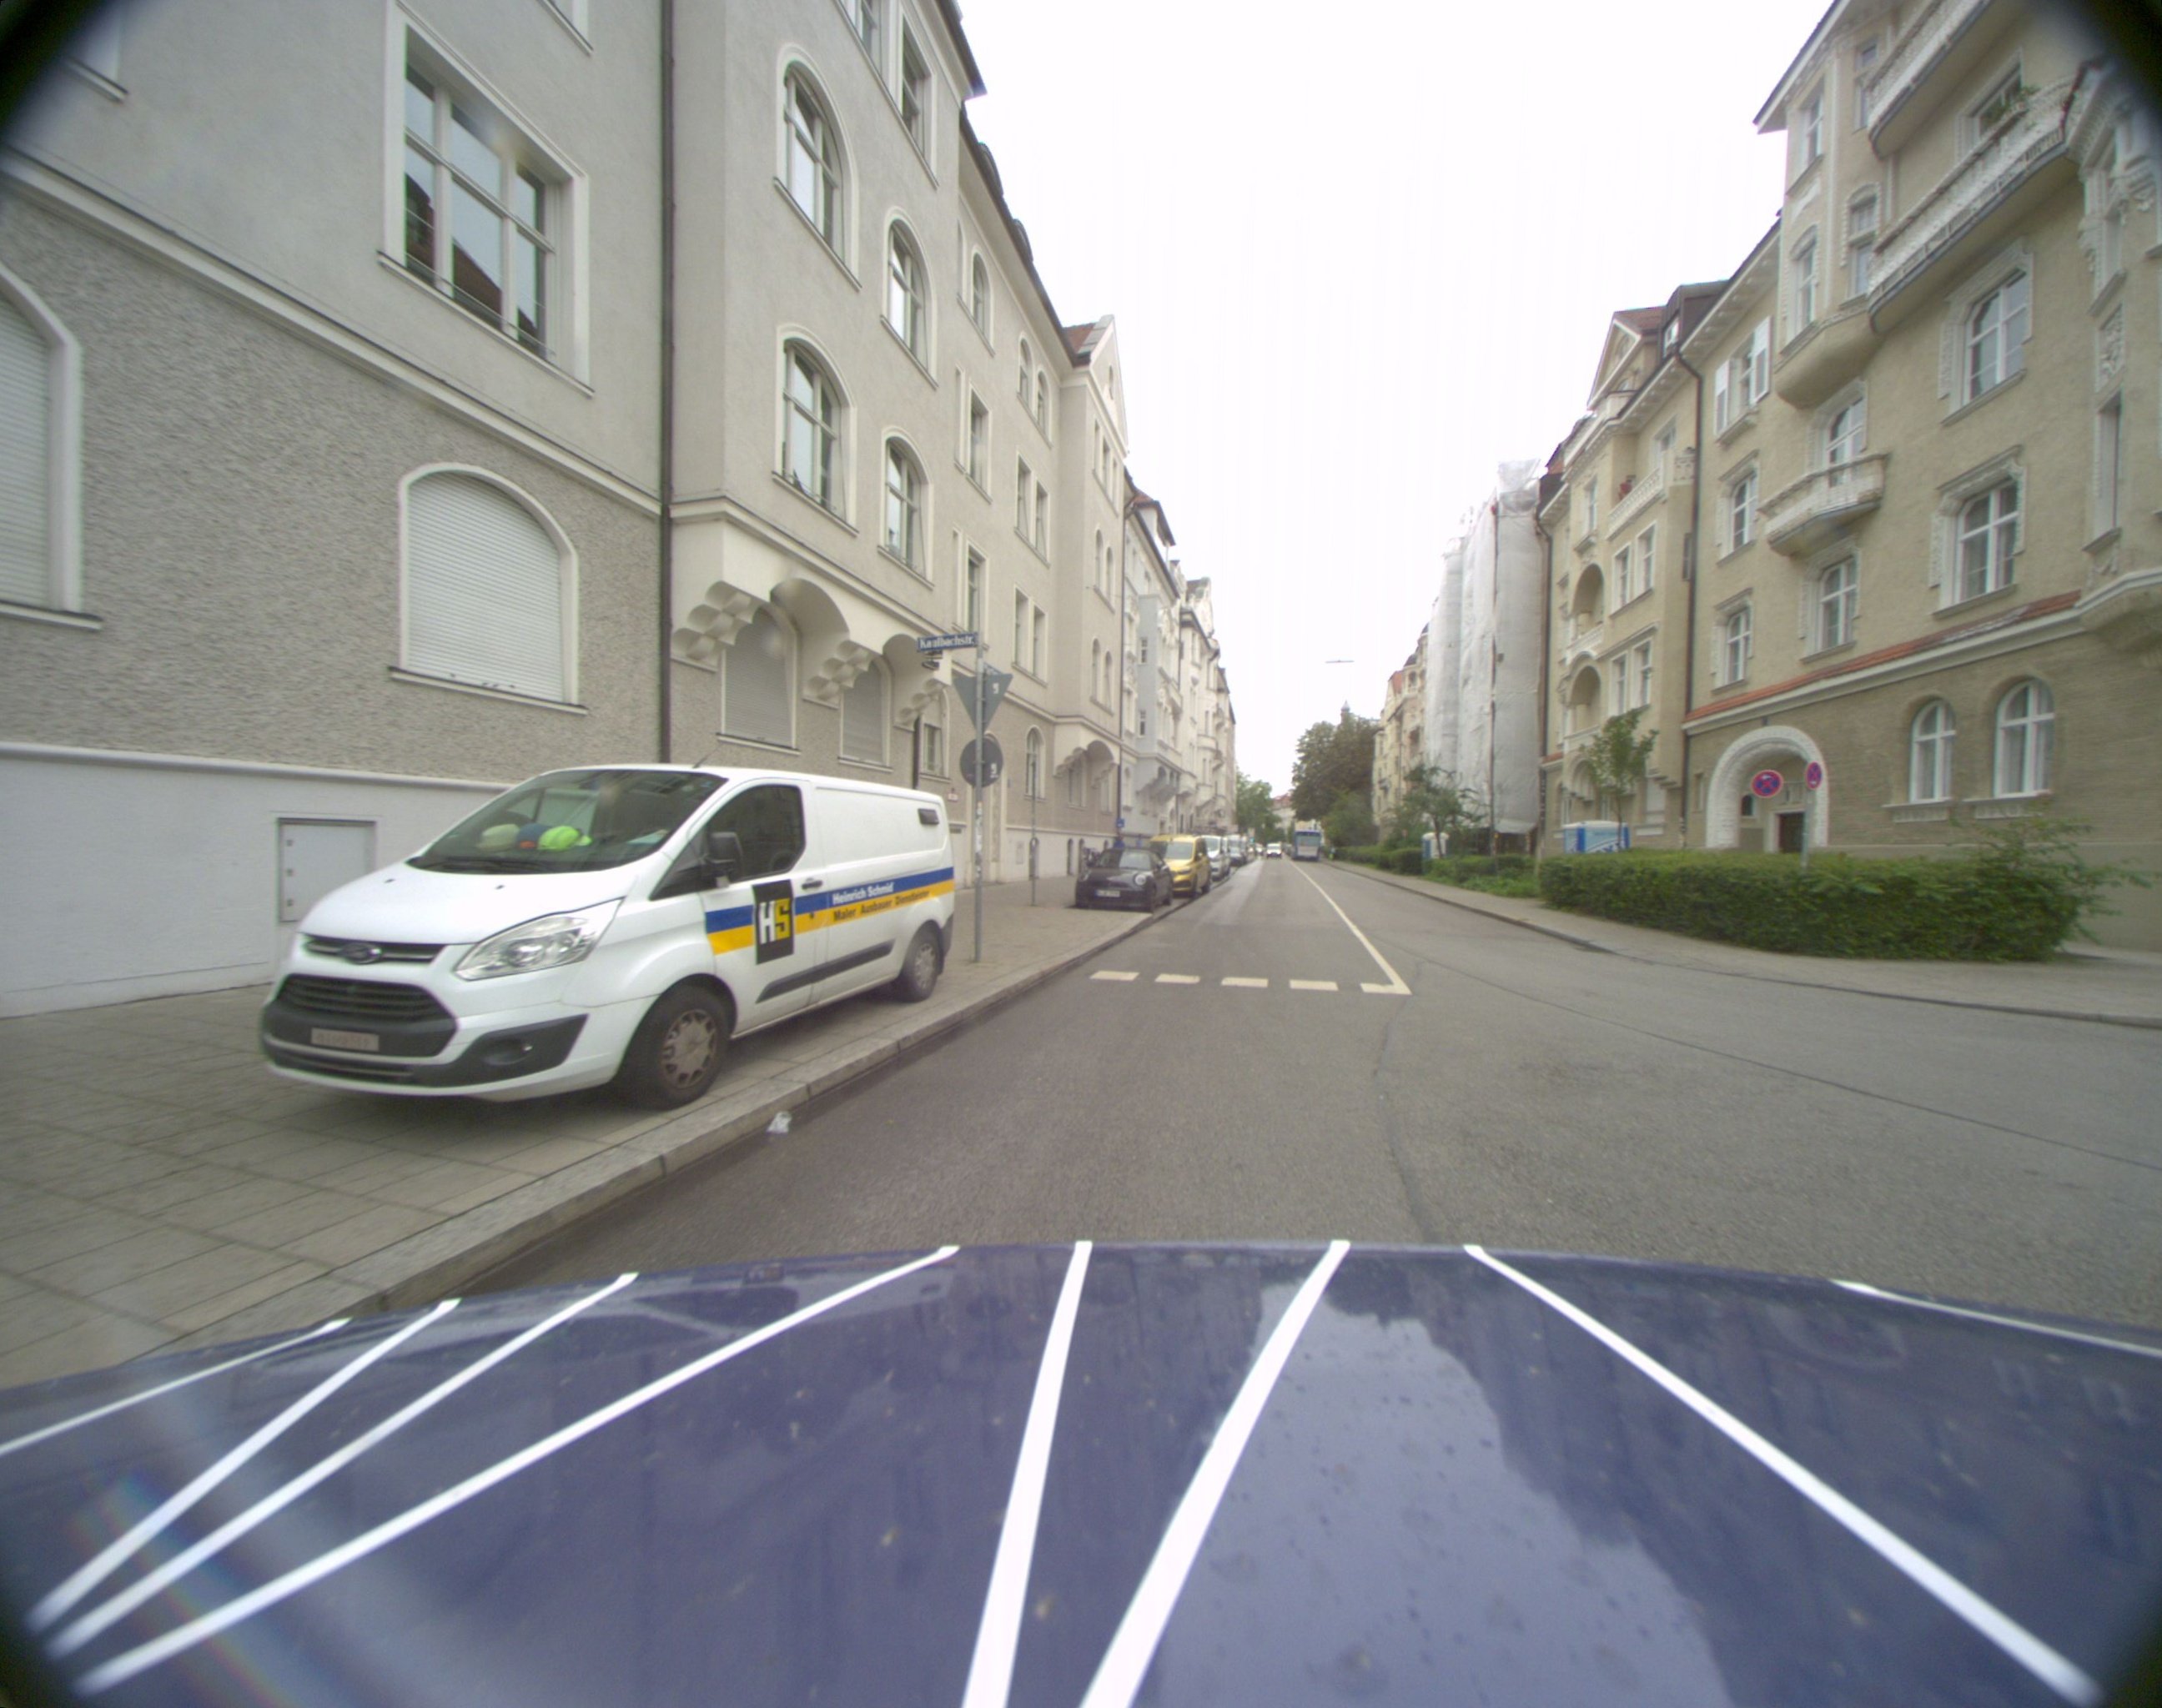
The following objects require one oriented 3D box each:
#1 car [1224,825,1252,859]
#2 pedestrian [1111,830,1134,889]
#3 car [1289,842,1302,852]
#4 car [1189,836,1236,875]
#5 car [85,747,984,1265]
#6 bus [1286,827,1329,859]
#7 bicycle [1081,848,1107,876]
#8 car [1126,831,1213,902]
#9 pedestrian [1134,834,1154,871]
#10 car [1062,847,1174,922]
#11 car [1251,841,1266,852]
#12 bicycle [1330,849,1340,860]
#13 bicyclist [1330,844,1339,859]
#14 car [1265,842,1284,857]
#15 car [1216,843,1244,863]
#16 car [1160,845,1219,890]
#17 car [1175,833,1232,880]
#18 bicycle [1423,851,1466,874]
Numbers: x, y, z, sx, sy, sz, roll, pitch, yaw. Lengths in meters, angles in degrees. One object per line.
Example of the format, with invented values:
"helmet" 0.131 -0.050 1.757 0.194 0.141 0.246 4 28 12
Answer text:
"car" 13.482 -1.044 65.168 2.079 2.673 5.449 3 2 13
"pedestrian" 1.437 0.178 26.039 0.584 2.002 0.728 1 2 17
"car" 31.572 -1.043 111.813 1.721 1.398 4.005 2 2 18
"car" 7.016 0.032 40.141 1.996 1.907 4.883 2 1 15
"car" -2.661 0.497 5.636 1.941 1.911 5.379 2 2 14
"bus" 25.905 -1.344 87.877 3.176 3.194 18.071 3 2 12
"bicycle" 0.552 0.310 31.689 0.667 1.127 1.724 2 2 16
"car" 2.809 0.293 23.138 1.996 1.907 4.575 2 1 15
"pedestrian" 3.324 -0.084 39.971 0.852 1.892 0.747 2 2 18
"car" 0.959 0.604 17.320 1.714 1.437 3.831 2 1 15
"car" 26.990 -1.202 115.418 1.721 1.623 4.005 2 2 18
"bicycle" 25.842 0.051 77.360 0.769 1.075 2.051 0 1 13
"bicyclist" 25.826 -0.241 77.331 0.769 1.484 1.061 0 1 13
"car" 23.629 -0.578 92.827 1.916 1.648 4.607 2 2 17
"car" 11.362 -0.090 57.915 1.790 1.400 4.248 2 1 15
"car" 4.081 0.452 28.233 1.635 1.505 3.889 1 1 16
"car" 5.536 0.064 33.834 1.996 1.907 4.891 2 1 15
"bicycle" 18.612 0.424 38.900 1.862 1.071 0.691 -3 0 16
